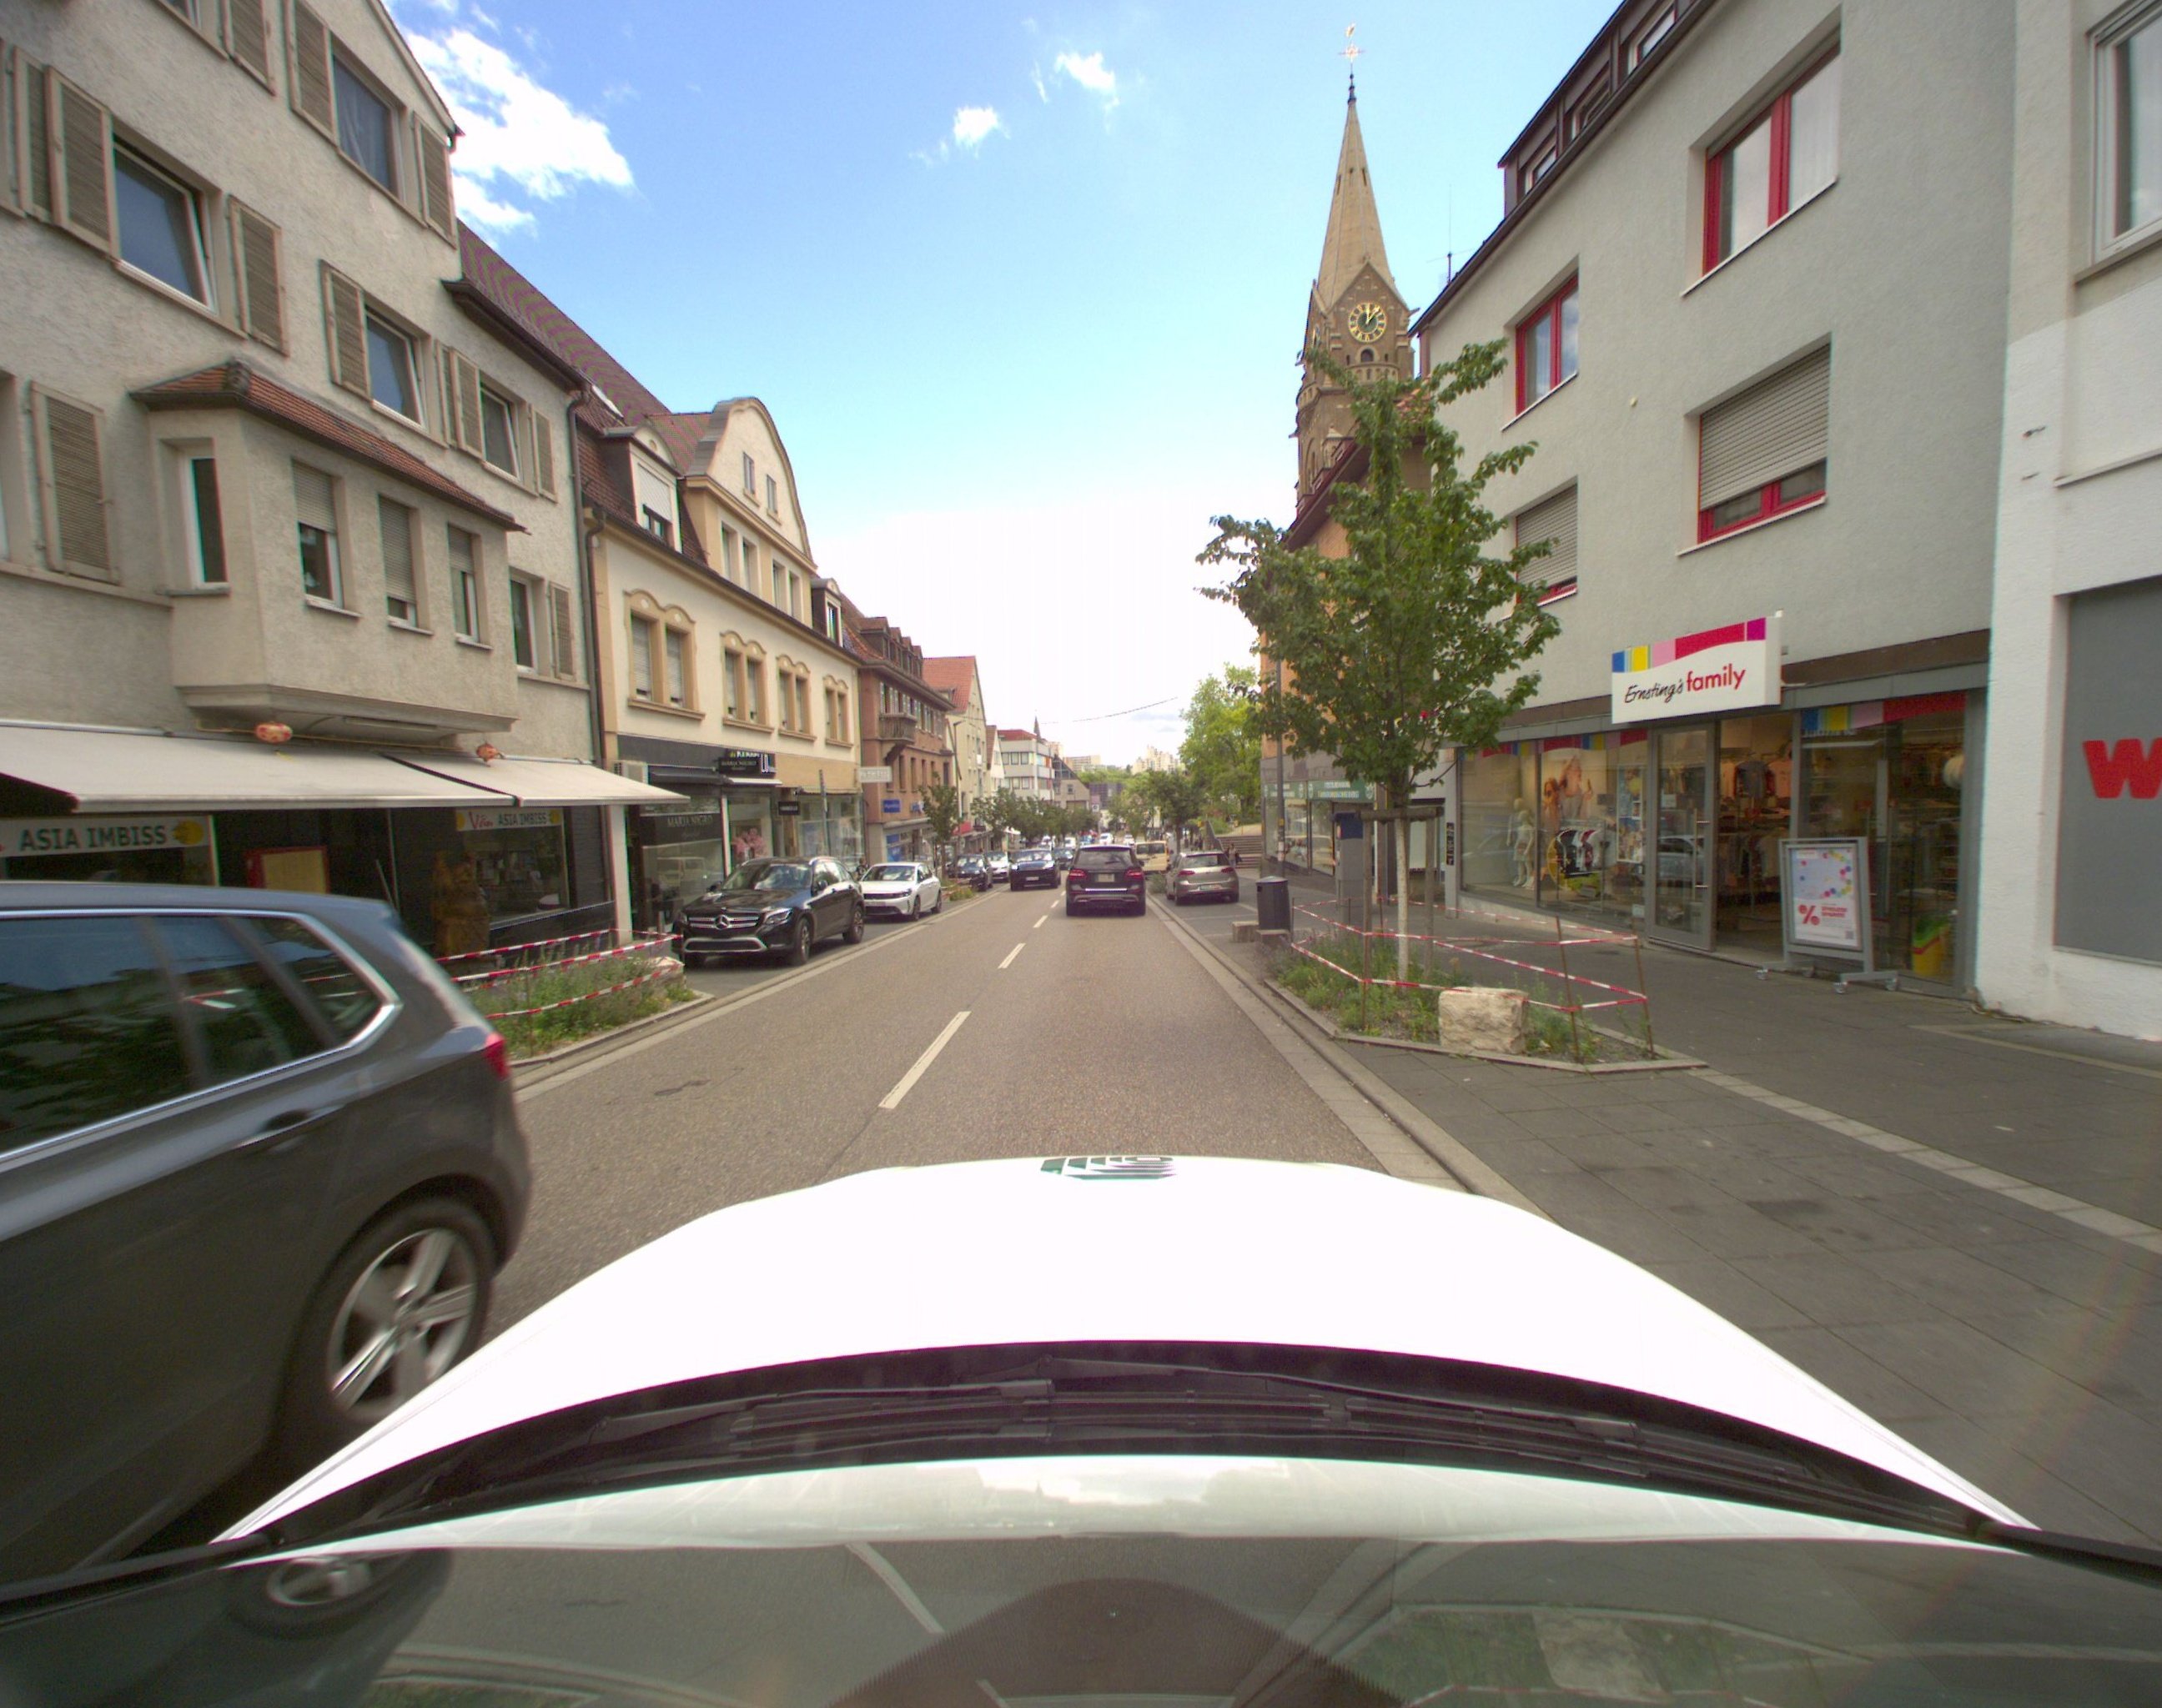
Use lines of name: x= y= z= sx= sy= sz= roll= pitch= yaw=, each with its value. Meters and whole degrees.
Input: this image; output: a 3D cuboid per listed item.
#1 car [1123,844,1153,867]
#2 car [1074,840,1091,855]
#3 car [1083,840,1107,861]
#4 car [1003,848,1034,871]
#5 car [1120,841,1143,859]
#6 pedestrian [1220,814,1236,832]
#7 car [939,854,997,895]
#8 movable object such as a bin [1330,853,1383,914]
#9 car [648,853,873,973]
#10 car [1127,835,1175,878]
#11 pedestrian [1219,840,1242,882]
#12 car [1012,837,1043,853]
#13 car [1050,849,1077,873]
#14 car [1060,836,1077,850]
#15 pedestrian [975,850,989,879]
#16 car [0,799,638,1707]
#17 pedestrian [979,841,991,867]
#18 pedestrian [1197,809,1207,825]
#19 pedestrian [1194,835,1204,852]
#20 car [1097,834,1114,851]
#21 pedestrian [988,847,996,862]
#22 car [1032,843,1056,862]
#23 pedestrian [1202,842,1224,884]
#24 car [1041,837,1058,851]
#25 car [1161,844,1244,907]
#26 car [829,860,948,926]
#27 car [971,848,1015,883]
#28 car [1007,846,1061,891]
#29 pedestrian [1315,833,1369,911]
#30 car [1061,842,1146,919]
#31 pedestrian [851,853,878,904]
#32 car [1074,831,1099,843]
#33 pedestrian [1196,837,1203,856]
car: x=4.079 y=0.102 z=59.051 sx=1.930 sy=1.456 sz=4.710 roll=-2 pitch=1 yaw=2
car: x=0.172 y=-0.730 z=89.113 sx=1.806 sy=1.508 sz=4.000 roll=-2 pitch=1 yaw=1
car: x=1.219 y=-0.317 z=67.783 sx=1.919 sy=1.628 sz=4.264 roll=0 pitch=1 yaw=1
car: x=-4.491 y=0.347 z=59.026 sx=1.920 sy=1.496 sz=4.262 roll=0 pitch=1 yaw=0
car: x=4.661 y=-0.402 z=75.837 sx=1.930 sy=1.544 sz=4.710 roll=-2 pitch=1 yaw=2
pedestrian: x=10.277 y=-2.173 z=57.020 sx=0.986 sy=1.231 sz=0.984 roll=-2 pitch=0 yaw=3
car: x=-4.783 y=0.832 z=35.049 sx=1.921 sy=1.496 sz=4.260 roll=-2 pitch=1 yaw=-2
movable object such as a bin: x=5.636 y=0.592 z=16.688 sx=0.719 sy=1.158 sz=0.907 roll=-4 pitch=0 yaw=0
car: x=-5.083 y=0.828 z=13.731 sx=1.920 sy=1.621 sz=4.639 roll=0 pitch=1 yaw=0
car: x=3.450 y=0.061 z=40.986 sx=1.931 sy=1.891 sz=4.708 roll=-4 pitch=1 yaw=1
pedestrian: x=6.072 y=0.279 z=33.093 sx=0.670 sy=1.632 sz=0.669 roll=-4 pitch=1 yaw=-1
car: x=-7.257 y=-1.223 z=110.185 sx=3.978 sy=1.749 sz=1.998 roll=-4 pitch=1 yaw=-3
car: x=-1.234 y=0.462 z=58.900 sx=1.758 sy=1.617 sz=4.033 roll=-1 pitch=0 yaw=1
car: x=-1.499 y=-1.350 z=99.784 sx=1.919 sy=1.628 sz=4.264 roll=0 pitch=1 yaw=1
pedestrian: x=-5.730 y=0.600 z=47.222 sx=0.725 sy=1.667 sz=0.720 roll=-1 pitch=1 yaw=0
car: x=-2.707 y=0.775 z=1.090 sx=1.813 sy=1.618 sz=4.136 roll=-4 pitch=0 yaw=1
pedestrian: x=-6.276 y=-0.027 z=53.432 sx=0.639 sy=1.667 sz=0.720 roll=-1 pitch=1 yaw=0
pedestrian: x=16.357 y=-4.990 z=110.389 sx=1.003 sy=2.151 sz=1.073 roll=-4 pitch=1 yaw=19
pedestrian: x=14.044 y=-1.211 z=96.925 sx=1.044 sy=1.912 sz=0.939 roll=-4 pitch=1 yaw=8
car: x=3.493 y=-1.617 z=115.873 sx=2.163 sy=2.364 sz=4.630 roll=-1 pitch=0 yaw=5
pedestrian: x=-7.492 y=0.027 z=68.779 sx=0.563 sy=1.281 sz=0.758 roll=-1 pitch=0 yaw=0
car: x=-3.381 y=-0.161 z=75.517 sx=1.919 sy=1.628 sz=4.264 roll=-1 pitch=1 yaw=1
pedestrian: x=5.321 y=0.360 z=32.908 sx=0.670 sy=1.632 sz=0.669 roll=-4 pitch=1 yaw=-1
car: x=-3.942 y=-1.288 z=102.793 sx=1.920 sy=1.628 sz=4.414 roll=0 pitch=1 yaw=0
car: x=3.430 y=0.548 z=23.648 sx=1.742 sy=1.465 sz=4.075 roll=-5 pitch=1 yaw=1
car: x=-4.887 y=0.935 z=21.308 sx=1.919 sy=1.430 sz=4.265 roll=-1 pitch=1 yaw=2
car: x=-4.502 y=0.556 z=42.396 sx=1.921 sy=1.595 sz=4.455 roll=0 pitch=1 yaw=-2
car: x=-1.961 y=0.574 z=35.276 sx=1.985 sy=1.718 sz=4.447 roll=-3 pitch=1 yaw=0
pedestrian: x=5.630 y=0.379 z=17.602 sx=0.733 sy=1.585 sz=1.000 roll=-4 pitch=0 yaw=0
car: x=0.591 y=0.577 z=20.786 sx=1.936 sy=1.739 sz=4.181 roll=0 pitch=1 yaw=2
pedestrian: x=-6.995 y=0.765 z=26.292 sx=0.545 sy=1.575 sz=0.863 roll=-3 pitch=1 yaw=0
car: x=1.011 y=-3.104 z=151.320 sx=4.143 sy=2.029 sz=1.799 roll=-1 pitch=1 yaw=35
pedestrian: x=10.072 y=-0.626 z=69.215 sx=0.565 sy=1.586 sz=0.668 roll=-2 pitch=0 yaw=10
